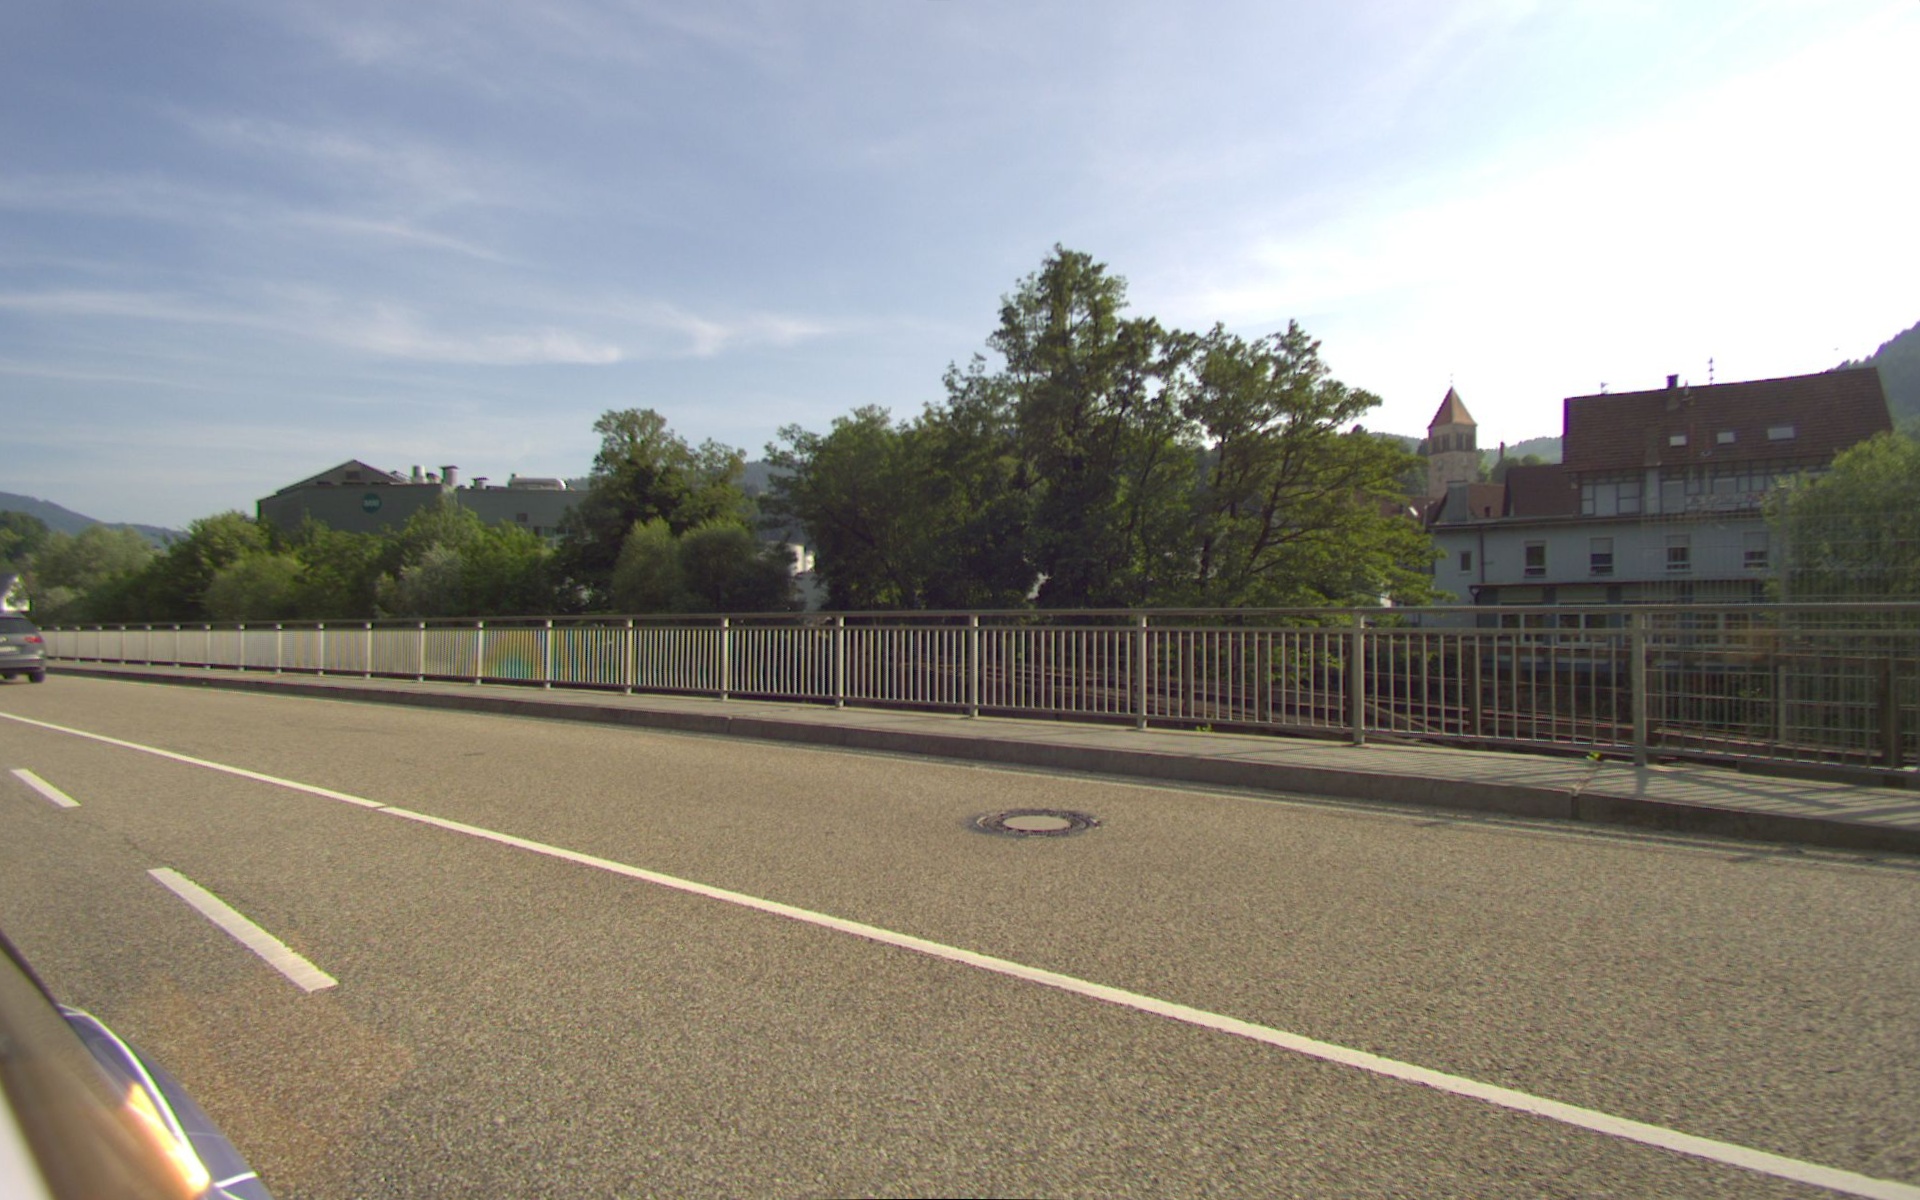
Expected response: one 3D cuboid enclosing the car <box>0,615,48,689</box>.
[{"bbox_3d":[-23.586,1.208,24.145,4.603,1.659,1.801,-1,-1,36],"label":"car"}]
